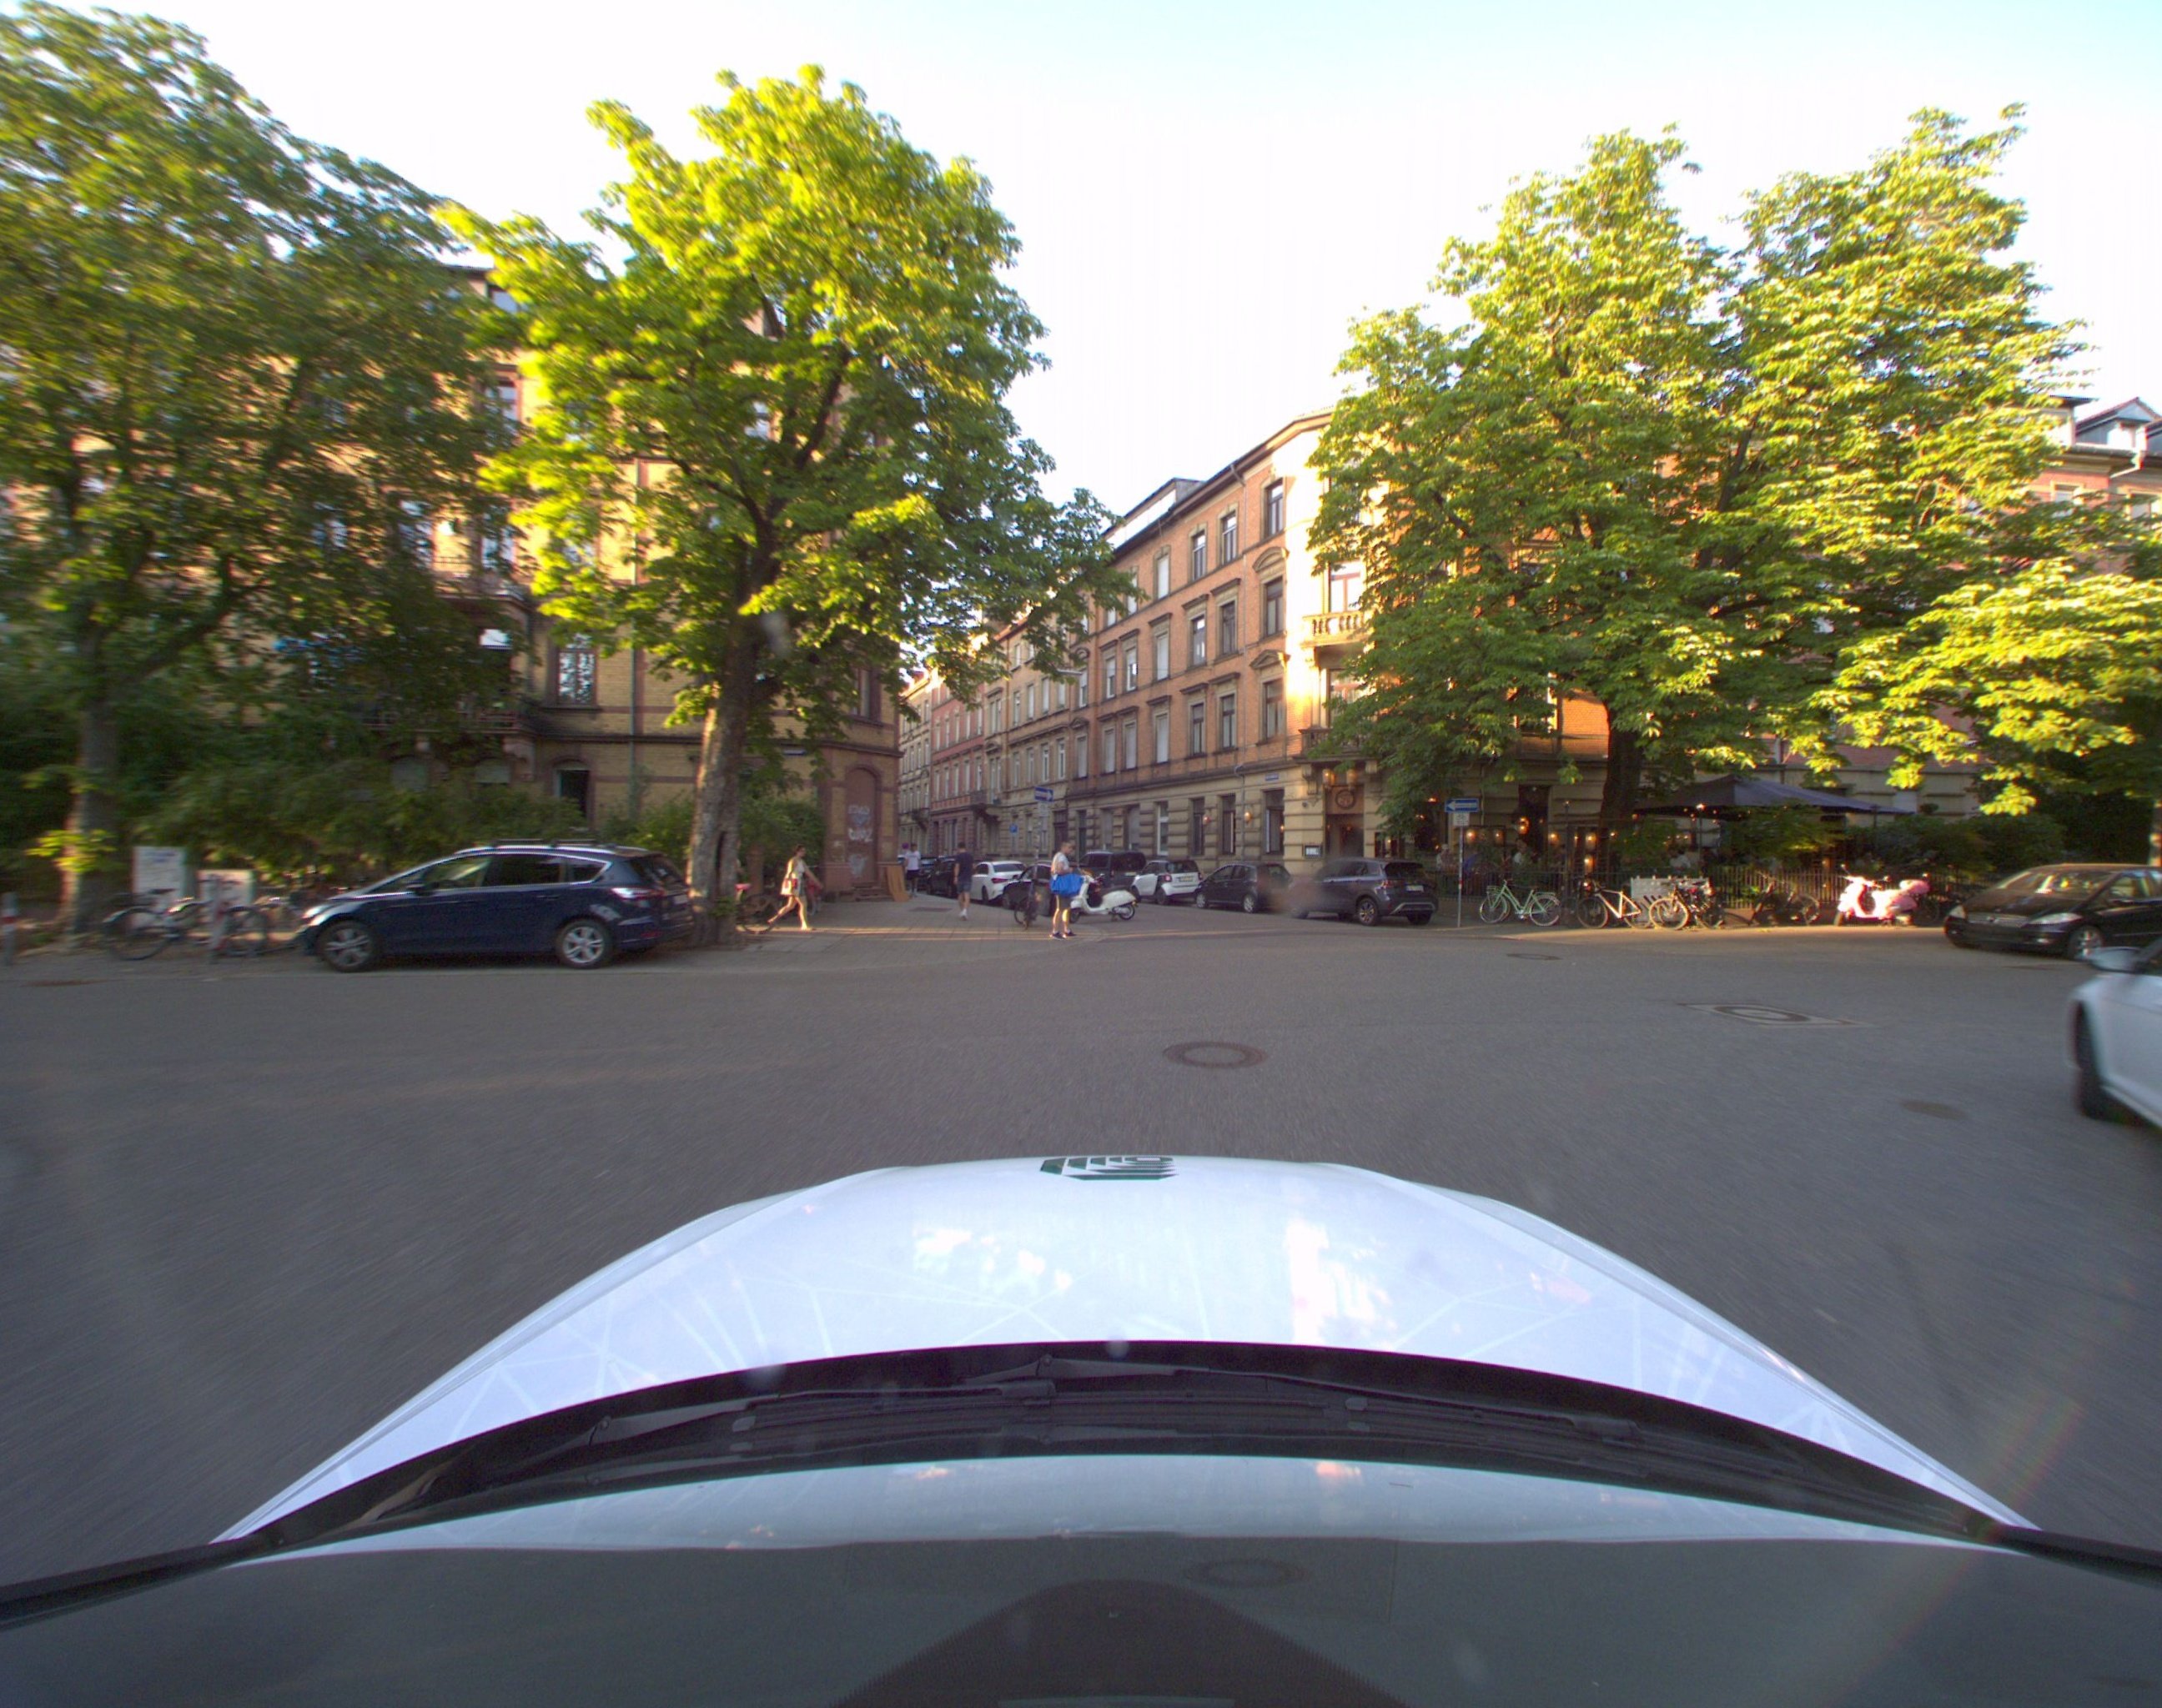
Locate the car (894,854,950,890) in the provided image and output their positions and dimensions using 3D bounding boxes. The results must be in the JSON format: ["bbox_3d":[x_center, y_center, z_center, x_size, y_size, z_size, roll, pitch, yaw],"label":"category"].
[{"bbox_3d":[-7.326,0.790,37.189,1.582,1.572,4.085,0,-1,-25],"label":"car"}]

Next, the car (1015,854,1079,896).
[{"bbox_3d":[-1.597,0.942,37.246,1.691,1.823,3.459,0,-1,-25],"label":"car"}]

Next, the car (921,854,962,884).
[{"bbox_3d":[-8.955,0.939,52.081,1.691,1.823,3.459,0,-1,-25],"label":"car"}]

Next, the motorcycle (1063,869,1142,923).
[{"bbox_3d":[0.521,1.007,19.659,1.854,1.257,0.471,0,-1,-8],"label":"motorcycle"}]

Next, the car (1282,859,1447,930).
[{"bbox_3d":[6.806,0.904,19.975,1.635,1.545,3.827,0,-1,-24],"label":"car"}]

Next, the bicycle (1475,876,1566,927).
[{"bbox_3d":[10.103,1.063,18.785,0.395,1.098,1.806,0,-1,-44],"label":"bicycle"}]

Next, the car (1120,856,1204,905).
[{"bbox_3d":[2.771,0.890,28.406,1.469,1.594,3.307,0,-1,-24],"label":"car"}]

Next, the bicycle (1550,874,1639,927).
[{"bbox_3d":[11.324,1.024,17.973,1.736,1.144,0.392,0,-1,-3],"label":"bicycle"}]

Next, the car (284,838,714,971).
[{"bbox_3d":[-7.906,0.646,11.514,4.572,1.687,1.868,0,0,-7],"label":"car"}]

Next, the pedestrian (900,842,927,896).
[{"bbox_3d":[-5.960,0.532,28.951,0.780,1.823,0.920,4,0,-16],"label":"pedestrian"}]

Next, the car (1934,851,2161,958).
[{"bbox_3d":[17.601,0.837,14.253,3.829,1.677,1.667,0,2,-6],"label":"car"}]

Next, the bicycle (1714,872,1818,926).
[{"bbox_3d":[15.659,1.032,18.635,1.941,1.143,0.393,1,2,4],"label":"bicycle"}]

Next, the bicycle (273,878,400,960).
[{"bbox_3d":[-11.237,0.939,12.378,0.604,1.036,1.801,1,2,-13],"label":"bicycle"}]

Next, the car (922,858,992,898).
[{"bbox_3d":[-4.962,0.907,32.140,1.582,1.458,4.388,0,-1,-25],"label":"car"}]

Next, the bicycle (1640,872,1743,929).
[{"bbox_3d":[13.209,1.006,17.642,1.945,1.185,0.392,1,2,-3],"label":"bicycle"}]

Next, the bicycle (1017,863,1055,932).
[{"bbox_3d":[-0.952,0.909,17.676,0.514,1.392,1.803,2,0,5],"label":"bicycle"}]

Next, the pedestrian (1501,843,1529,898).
[{"bbox_3d":[12.163,0.469,22.840,0.466,1.520,0.518,0,-1,-37],"label":"pedestrian"}]

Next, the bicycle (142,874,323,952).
[{"bbox_3d":[-12.651,0.861,12.202,1.806,1.093,0.603,1,1,-16],"label":"bicycle"}]

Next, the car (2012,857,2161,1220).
[{"bbox_3d":[5.610,0.822,3.263,1.790,1.500,4.198,4,3,40],"label":"car"}]

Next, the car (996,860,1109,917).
[{"bbox_3d":[-0.903,0.906,23.178,1.790,1.458,3.985,0,-1,-25],"label":"car"}]

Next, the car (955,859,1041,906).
[{"bbox_3d":[-2.909,0.912,27.664,1.582,1.458,4.388,0,-1,-25],"label":"car"}]

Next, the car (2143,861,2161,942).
[{"bbox_3d":[22.026,0.927,14.787,3.694,1.493,1.666,0,2,-7],"label":"car"}]

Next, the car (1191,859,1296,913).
[{"bbox_3d":[4.847,0.913,24.643,1.469,1.458,3.306,0,0,-25],"label":"car"}]

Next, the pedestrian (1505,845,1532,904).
[{"bbox_3d":[10.929,0.516,20.326,0.466,1.451,0.425,0,-1,-37],"label":"pedestrian"}]

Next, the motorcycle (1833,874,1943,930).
[{"bbox_3d":[18.009,1.064,18.199,1.941,1.185,0.393,1,1,4],"label":"motorcycle"}]

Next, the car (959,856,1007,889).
[{"bbox_3d":[-5.642,1.022,46.500,1.691,1.823,3.459,0,-1,-25],"label":"car"}]

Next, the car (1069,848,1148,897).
[{"bbox_3d":[1.014,0.702,31.902,1.691,1.823,3.459,0,-1,-25],"label":"car"}]

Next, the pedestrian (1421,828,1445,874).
[{"bbox_3d":[10.825,-0.097,25.049,0.463,1.412,0.521,0,-1,-20],"label":"pedestrian"}]

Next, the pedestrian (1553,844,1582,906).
[{"bbox_3d":[11.630,0.497,19.476,0.466,1.451,0.425,0,-1,-37],"label":"pedestrian"}]

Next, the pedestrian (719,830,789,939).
[{"bbox_3d":[-5.753,0.526,14.320,1.013,1.835,0.681,2,-2,-32],"label":"pedestrian"}]

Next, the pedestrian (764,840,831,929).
[{"bbox_3d":[-5.403,0.567,15.500,1.056,1.630,0.681,2,-2,-32],"label":"pedestrian"}]

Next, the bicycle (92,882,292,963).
[{"bbox_3d":[-12.455,0.930,11.474,1.809,1.036,0.602,0,2,-21],"label":"bicycle"}]

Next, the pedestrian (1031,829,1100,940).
[{"bbox_3d":[-0.297,0.570,15.346,1.011,2.014,0.861,1,-1,-26],"label":"pedestrian"}]

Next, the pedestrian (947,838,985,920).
[{"bbox_3d":[-2.666,0.572,18.996,0.684,1.823,0.792,4,0,-3],"label":"pedestrian"}]
